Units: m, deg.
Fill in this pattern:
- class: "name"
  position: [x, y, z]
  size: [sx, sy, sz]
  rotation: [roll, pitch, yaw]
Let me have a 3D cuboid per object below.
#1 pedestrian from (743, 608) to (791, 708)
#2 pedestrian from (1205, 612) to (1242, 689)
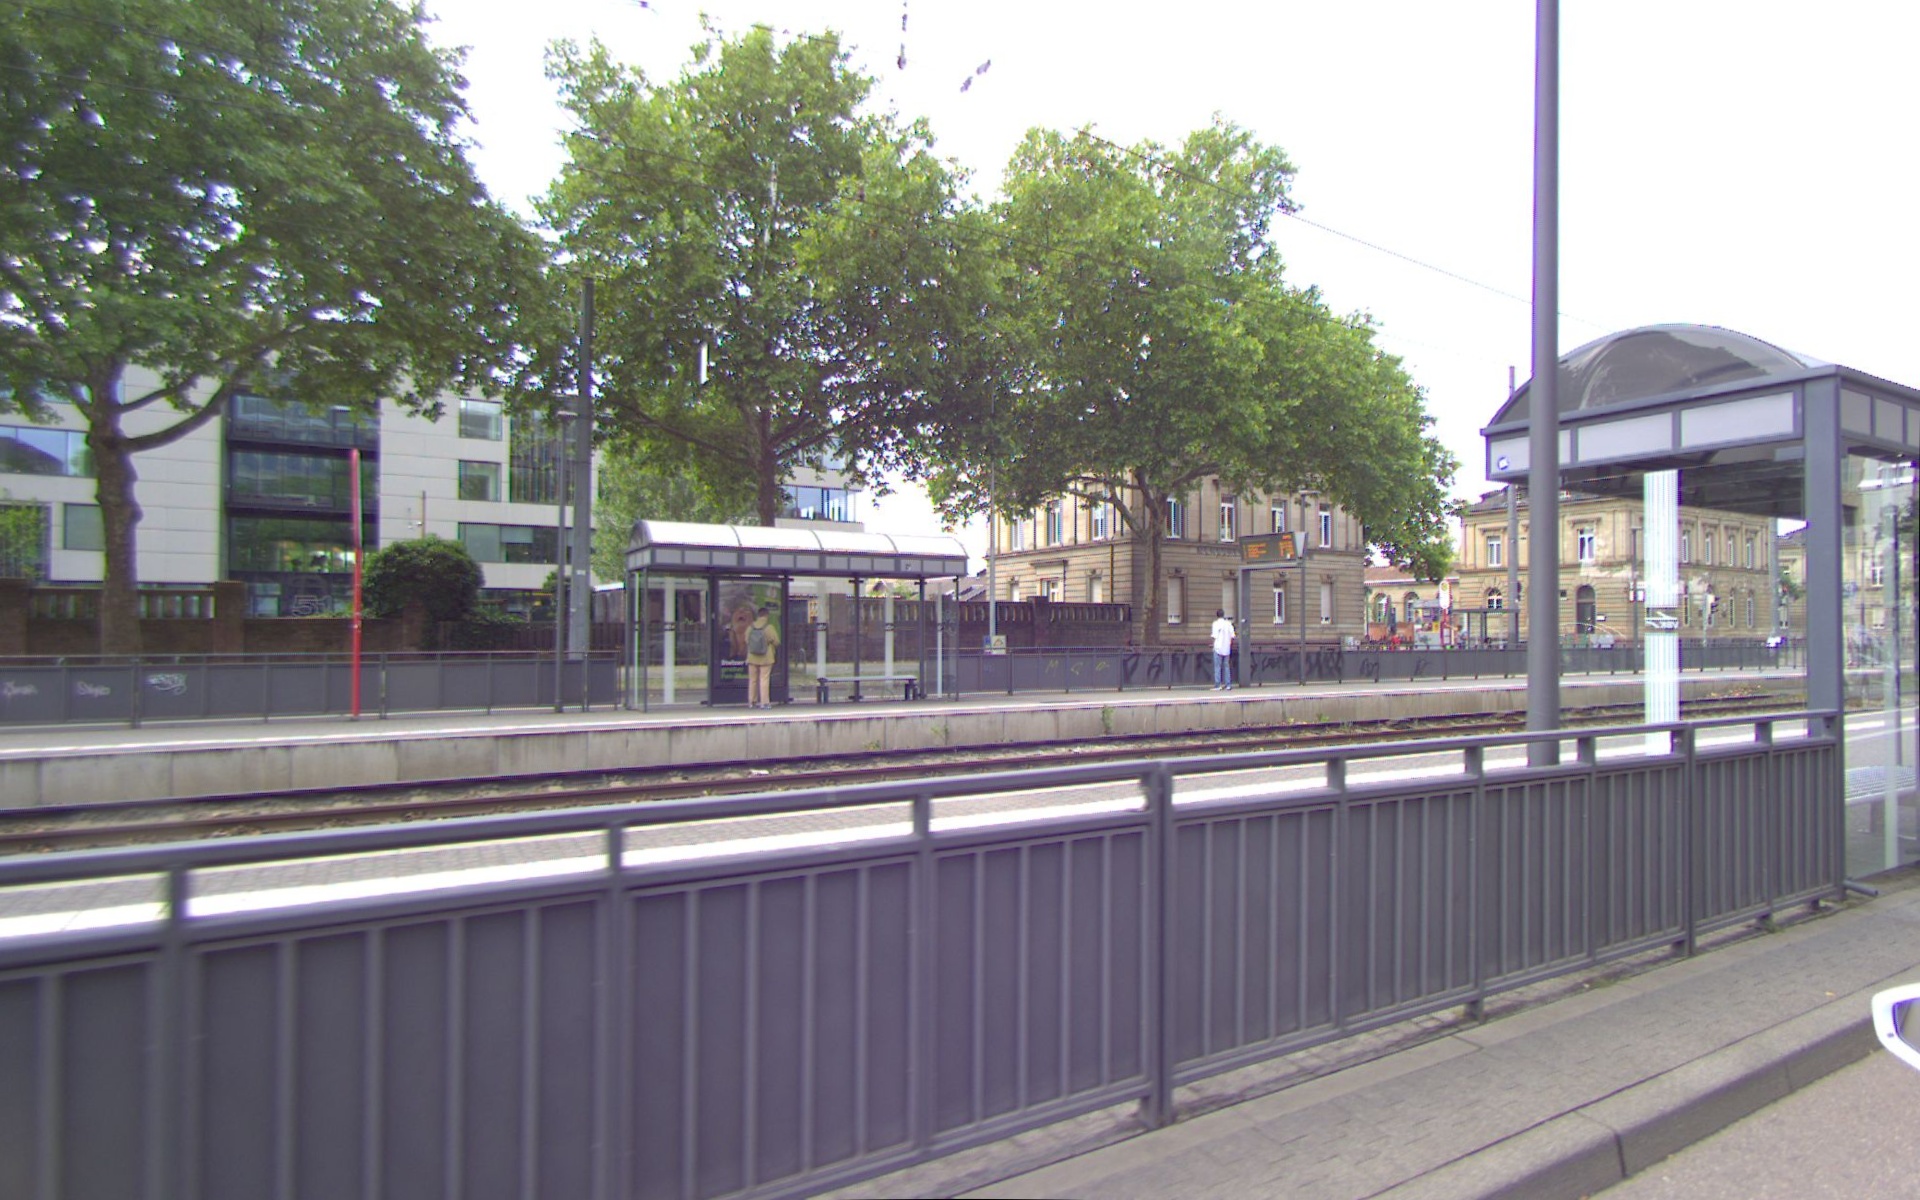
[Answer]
- class: "pedestrian"
  position: [-3.149, 0.934, 16.376]
  size: [0.635, 1.579, 0.498]
  rotation: [1, -1, -29]
- class: "pedestrian"
  position: [5.912, 1.128, 22.550]
  size: [0.635, 1.705, 0.498]
  rotation: [1, -1, -29]
